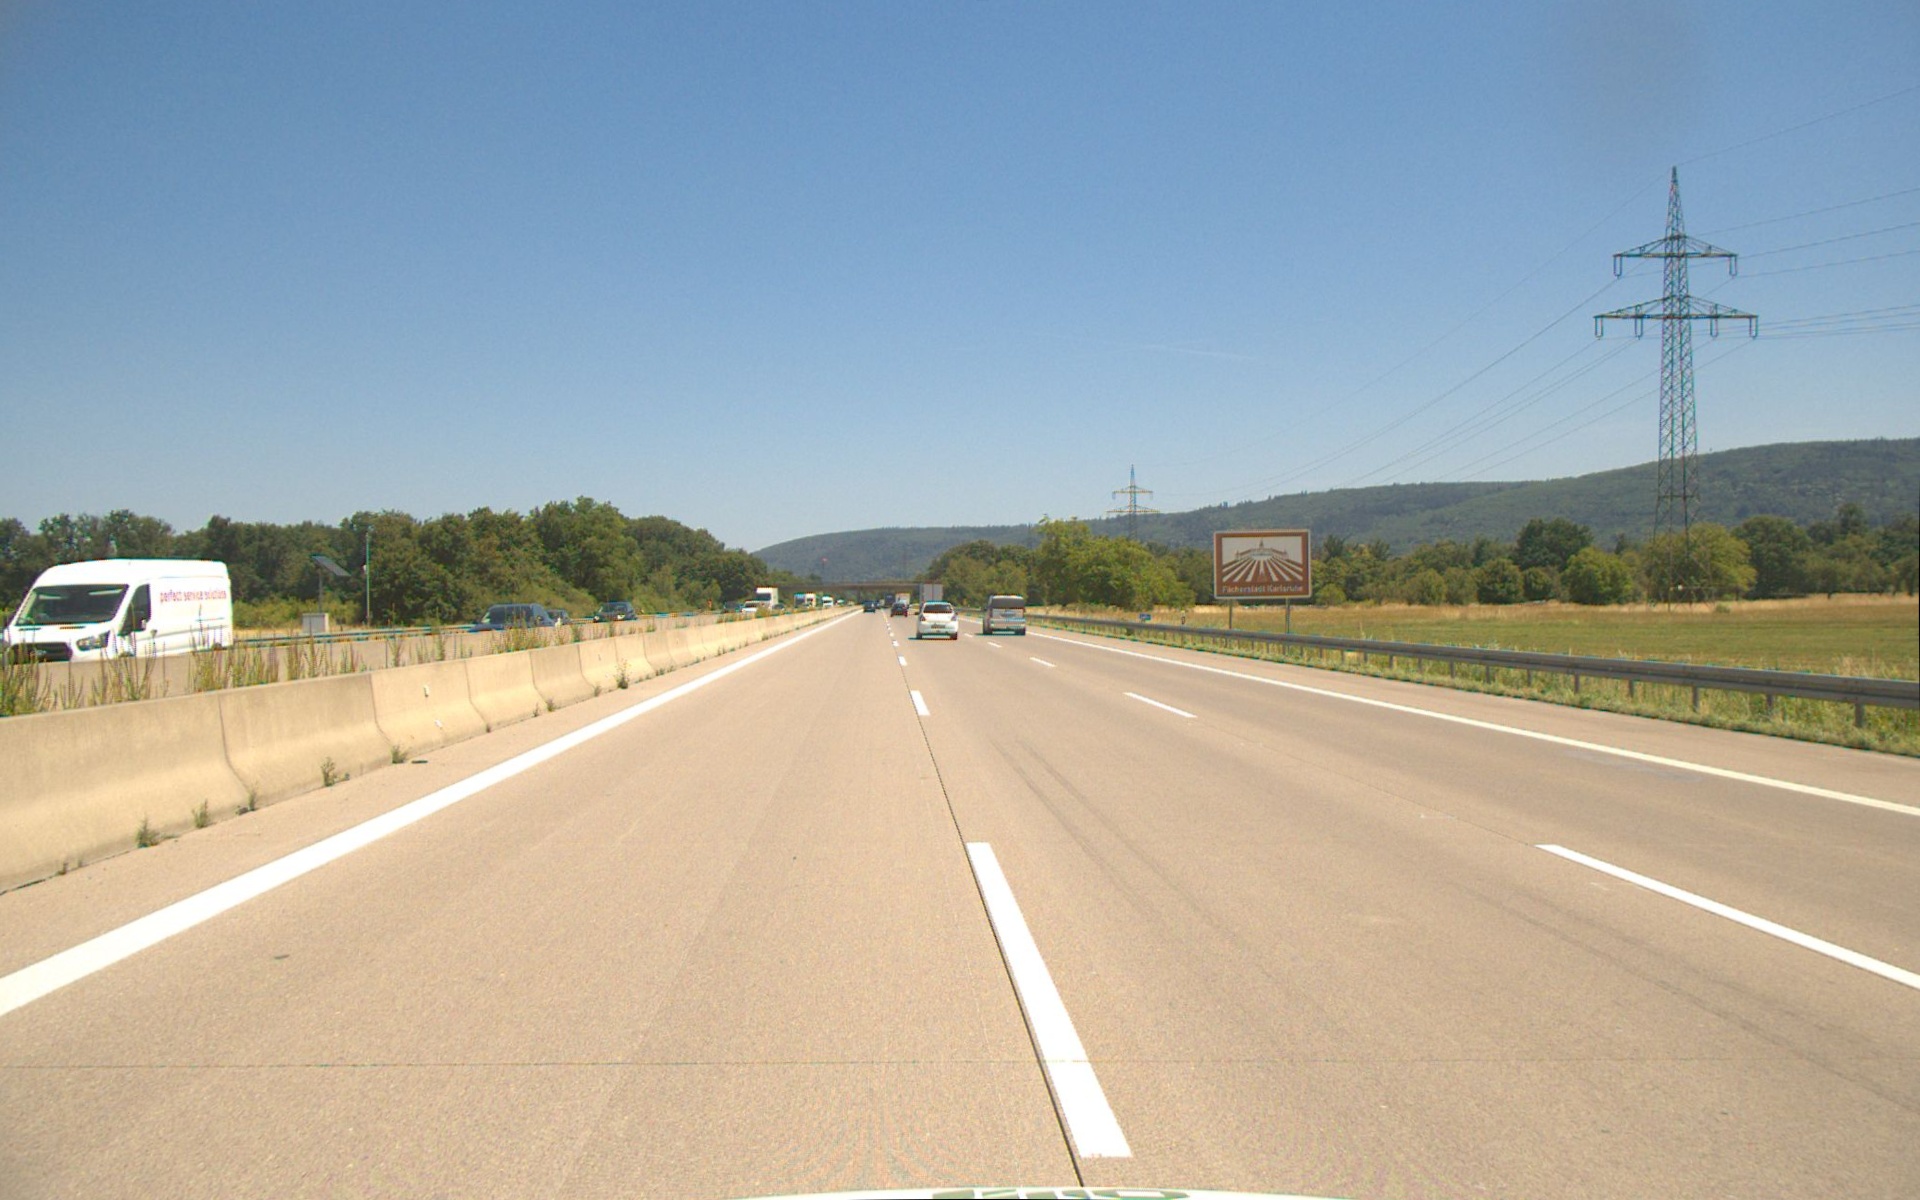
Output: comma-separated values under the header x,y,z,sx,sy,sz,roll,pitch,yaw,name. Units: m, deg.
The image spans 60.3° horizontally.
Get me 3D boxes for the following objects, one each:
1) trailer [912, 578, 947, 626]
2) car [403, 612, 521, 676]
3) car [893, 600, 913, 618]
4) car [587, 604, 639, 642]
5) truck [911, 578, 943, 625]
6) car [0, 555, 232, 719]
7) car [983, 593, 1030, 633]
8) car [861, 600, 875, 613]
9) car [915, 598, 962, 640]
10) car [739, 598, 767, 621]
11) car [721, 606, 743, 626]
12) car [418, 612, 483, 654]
x,y,z,sx,sy,sz,roll,pitch,yaw,name
-3.934,0.218,209.890,3.648,5.913,12.151,1,0,-4,trailer
-13.936,1.184,46.546,1.953,1.646,4.587,1,0,-1,car
-6.099,0.941,176.028,1.954,1.881,3.997,3,0,-4,car
-18.684,1.232,89.270,1.953,1.948,4.400,1,0,-1,car
-4.356,0.207,215.538,3.648,5.913,7.047,1,0,-4,truck
-15.066,0.568,28.945,2.168,2.564,6.121,1,0,-3,car
2.271,0.615,81.529,1.954,1.881,3.997,1,0,-3,car
-13.260,0.971,238.159,1.890,1.825,3.997,1,0,-4,car
-0.943,0.771,69.392,1.783,1.691,3.997,0,0,-3,car
-16.899,0.765,135.390,1.867,1.892,3.999,1,0,-2,car
-22.527,1.604,163.463,1.955,1.870,4.811,1,0,-5,car
-23.354,1.498,75.946,1.954,1.814,3.997,1,0,-4,car
